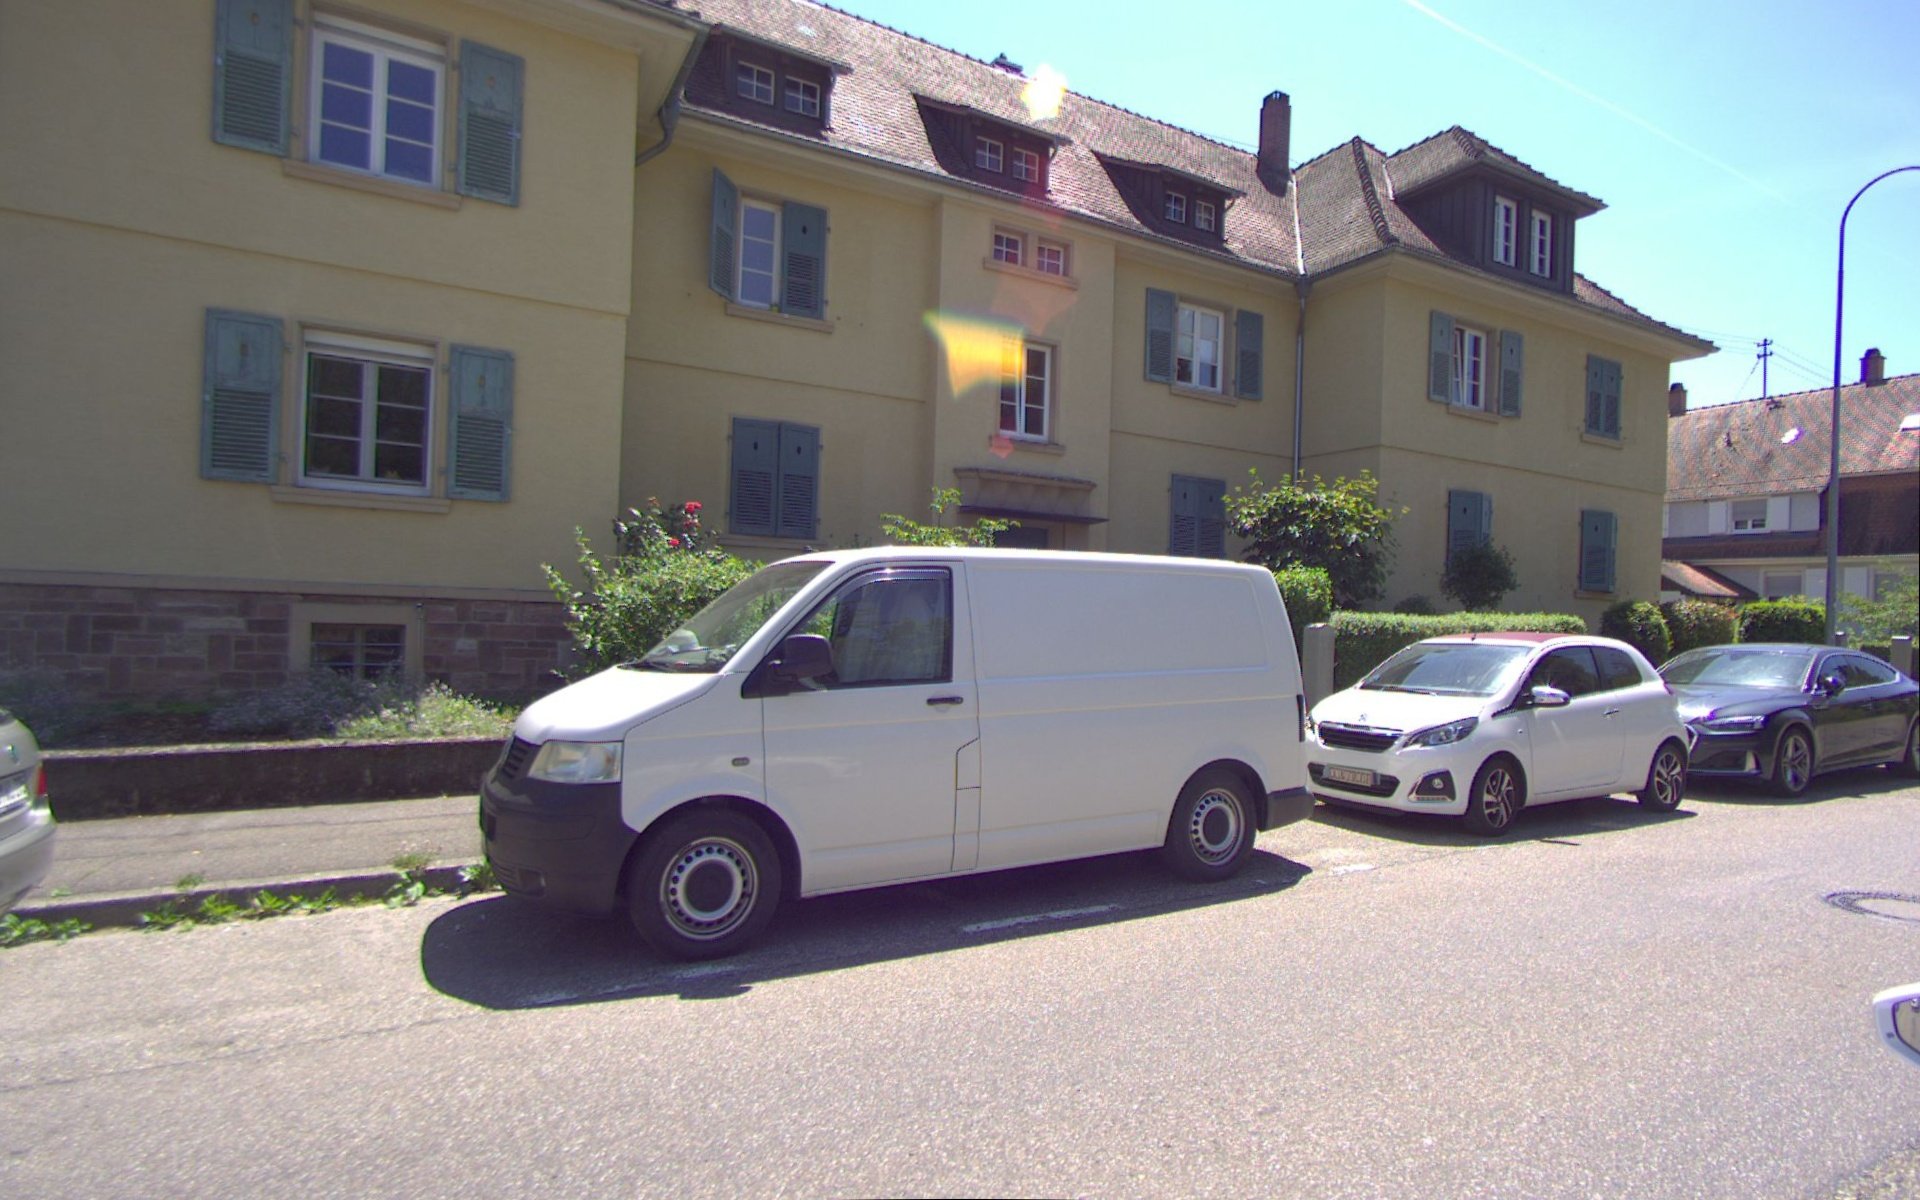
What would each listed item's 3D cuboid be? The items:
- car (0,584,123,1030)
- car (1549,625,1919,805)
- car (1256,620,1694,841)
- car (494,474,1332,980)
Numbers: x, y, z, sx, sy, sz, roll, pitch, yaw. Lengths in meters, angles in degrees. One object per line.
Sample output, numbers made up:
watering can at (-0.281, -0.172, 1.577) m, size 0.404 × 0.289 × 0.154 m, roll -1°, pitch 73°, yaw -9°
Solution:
car at (-5.394, 0.696, 3.103) m, size 4.014 × 1.545 × 1.679 m, roll 2°, pitch -3°, yaw -30°
car at (8.301, 1.073, 10.513) m, size 4.411 × 1.512 × 1.659 m, roll 2°, pitch -1°, yaw -29°
car at (4.355, 0.952, 8.448) m, size 3.435 × 1.512 × 1.659 m, roll 2°, pitch -2°, yaw -29°
car at (-0.149, 0.588, 5.902) m, size 4.569 × 1.989 × 1.870 m, roll 2°, pitch -3°, yaw -29°
